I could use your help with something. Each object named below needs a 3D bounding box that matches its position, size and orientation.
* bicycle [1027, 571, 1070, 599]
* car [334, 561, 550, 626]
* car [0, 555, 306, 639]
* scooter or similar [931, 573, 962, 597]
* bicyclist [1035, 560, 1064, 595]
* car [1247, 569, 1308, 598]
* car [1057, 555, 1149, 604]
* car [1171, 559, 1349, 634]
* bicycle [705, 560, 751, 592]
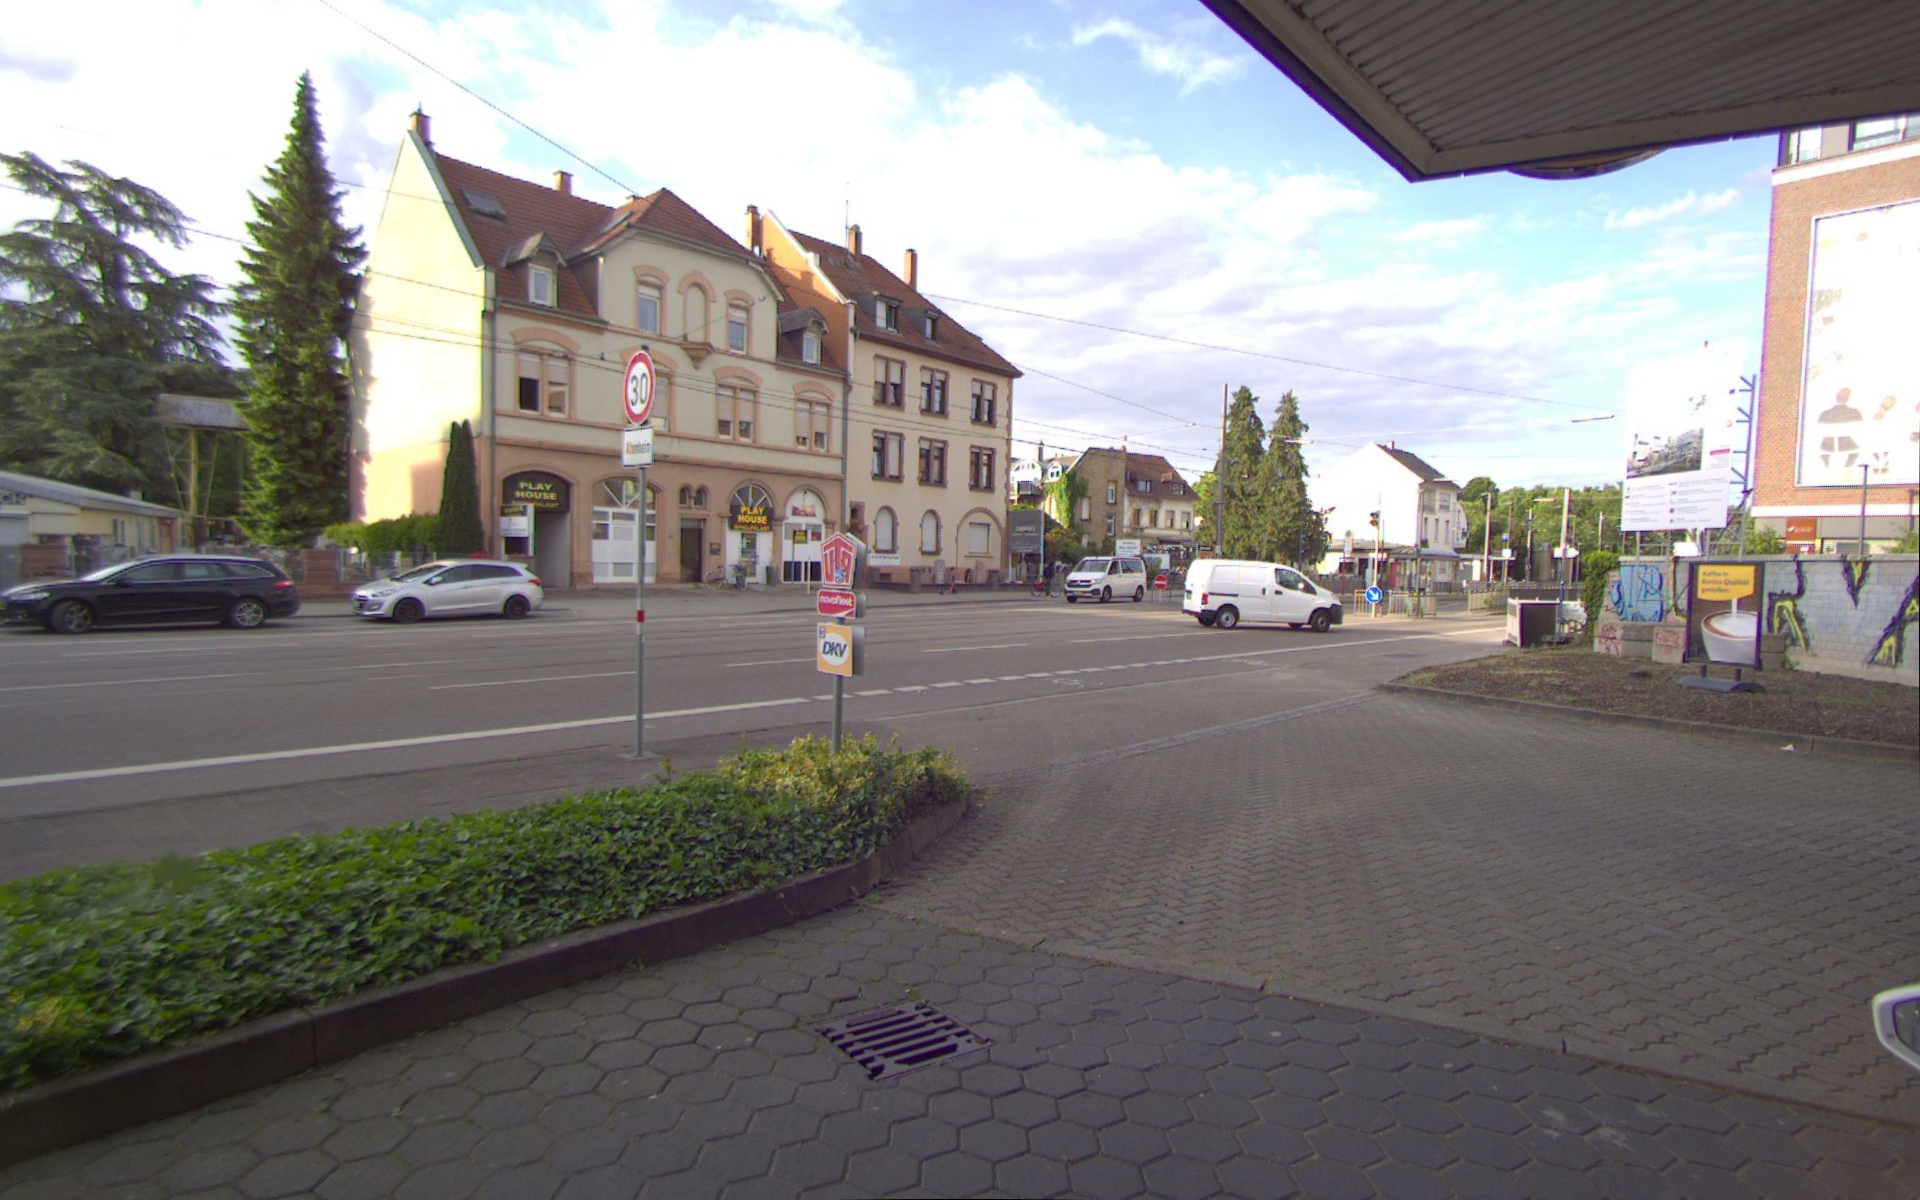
[{"bbox_3d":[4.295,-0.714,48.657,1.884,1.219,0.839,1,6,-31],"label":"bicycle"},{"bbox_3d":[-13.005,-0.238,25.463,1.970,1.495,4.467,3,3,40],"label":"car"},{"bbox_3d":[-16.573,-0.141,20.730,1.970,1.516,4.801,3,3,40],"label":"car"},{"bbox_3d":[-0.602,-0.680,45.135,0.488,1.015,1.592,5,5,39],"label":"scooter or similar"},{"bbox_3d":[4.326,-1.105,48.609,0.953,1.579,0.839,1,6,-31],"label":"bicyclist"},{"bbox_3d":[18.674,-0.996,58.939,1.814,1.598,4.358,2,2,41],"label":"car"},{"bbox_3d":[6.318,-0.915,43.955,1.967,1.995,4.872,2,3,35],"label":"car"},{"bbox_3d":[8.338,-0.126,28.187,4.327,1.915,1.967,2,2,-4],"label":"car"},{"bbox_3d":[-9.147,-0.945,39.708,0.508,1.189,1.809,4,2,40],"label":"bicycle"}]
